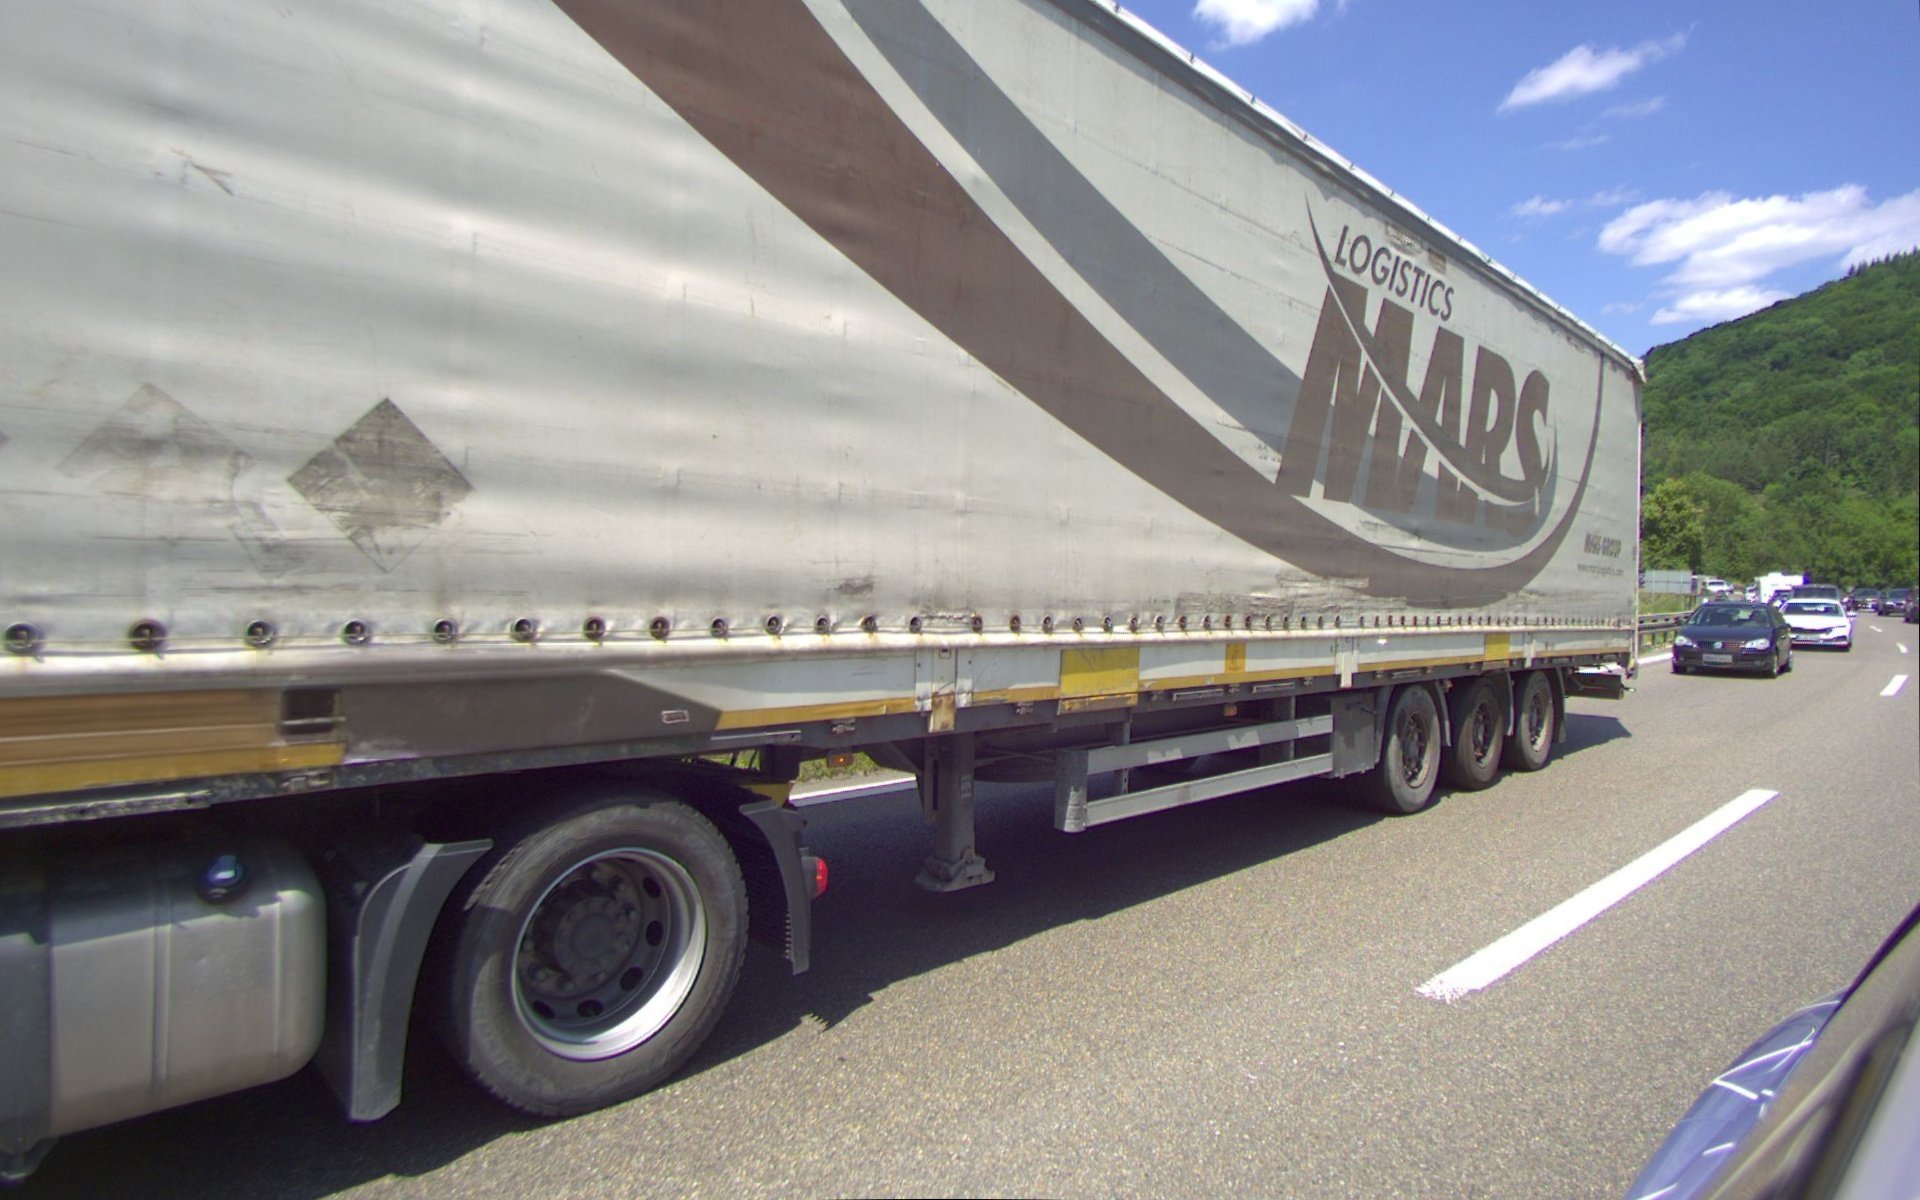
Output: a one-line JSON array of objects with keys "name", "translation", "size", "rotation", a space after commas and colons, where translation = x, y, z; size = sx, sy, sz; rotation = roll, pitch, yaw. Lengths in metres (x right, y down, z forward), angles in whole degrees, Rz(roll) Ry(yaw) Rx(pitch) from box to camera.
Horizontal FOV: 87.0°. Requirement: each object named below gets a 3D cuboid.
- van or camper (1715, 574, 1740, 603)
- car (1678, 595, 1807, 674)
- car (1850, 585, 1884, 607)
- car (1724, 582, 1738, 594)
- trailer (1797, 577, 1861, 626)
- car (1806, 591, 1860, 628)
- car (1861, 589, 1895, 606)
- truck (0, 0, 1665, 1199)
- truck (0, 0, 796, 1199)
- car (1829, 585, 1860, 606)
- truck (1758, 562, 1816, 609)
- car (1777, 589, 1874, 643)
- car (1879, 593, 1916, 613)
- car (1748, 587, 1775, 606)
[{"name": "van or camper", "translation": [84.276, -1.246, 111.153], "size": [1.898, 3.065, 4.815], "rotation": [1, 1, 34]}, {"name": "car", "translation": [15.876, 0.618, 20.458], "size": [1.691, 1.440, 3.778], "rotation": [0, 0, 44]}, {"name": "car", "translation": [69.338, -0.287, 77.411], "size": [1.522, 1.658, 3.375], "rotation": [-2, -1, 36]}, {"name": "car", "translation": [94.838, -1.483, 124.464], "size": [1.239, 1.497, 2.921], "rotation": [-2, -1, 37]}, {"name": "trailer", "translation": [37.199, 0.028, 43.415], "size": [1.991, 1.994, 3.942], "rotation": [1, 1, 40]}, {"name": "car", "translation": [34.830, 0.360, 40.445], "size": [1.482, 1.401, 3.686], "rotation": [0, 0, 39]}, {"name": "car", "translation": [63.411, -0.184, 69.938], "size": [1.484, 1.123, 3.171], "rotation": [0, 0, 38]}, {"name": "truck", "translation": [1.744, -0.744, 7.230], "size": [13.512, 4.119, 2.729], "rotation": [-1, 1, -43]}, {"name": "truck", "translation": [-3.492, -0.664, 2.268], "size": [5.658, 4.119, 2.722], "rotation": [-1, 1, -43]}, {"name": "car", "translation": [72.889, -0.373, 83.428], "size": [1.522, 1.658, 3.375], "rotation": [-2, -1, 36]}, {"name": "truck", "translation": [58.923, -0.985, 72.218], "size": [2.587, 3.147, 6.771], "rotation": [-2, -1, 35]}, {"name": "car", "translation": [25.313, 0.437, 29.561], "size": [1.903, 1.448, 3.662], "rotation": [1, 1, 45]}, {"name": "car", "translation": [55.088, 0.154, 59.496], "size": [1.485, 1.123, 3.167], "rotation": [0, 0, 41]}, {"name": "car", "translation": [70.482, -0.297, 88.998], "size": [1.689, 1.552, 3.631], "rotation": [-2, -1, 37]}]
